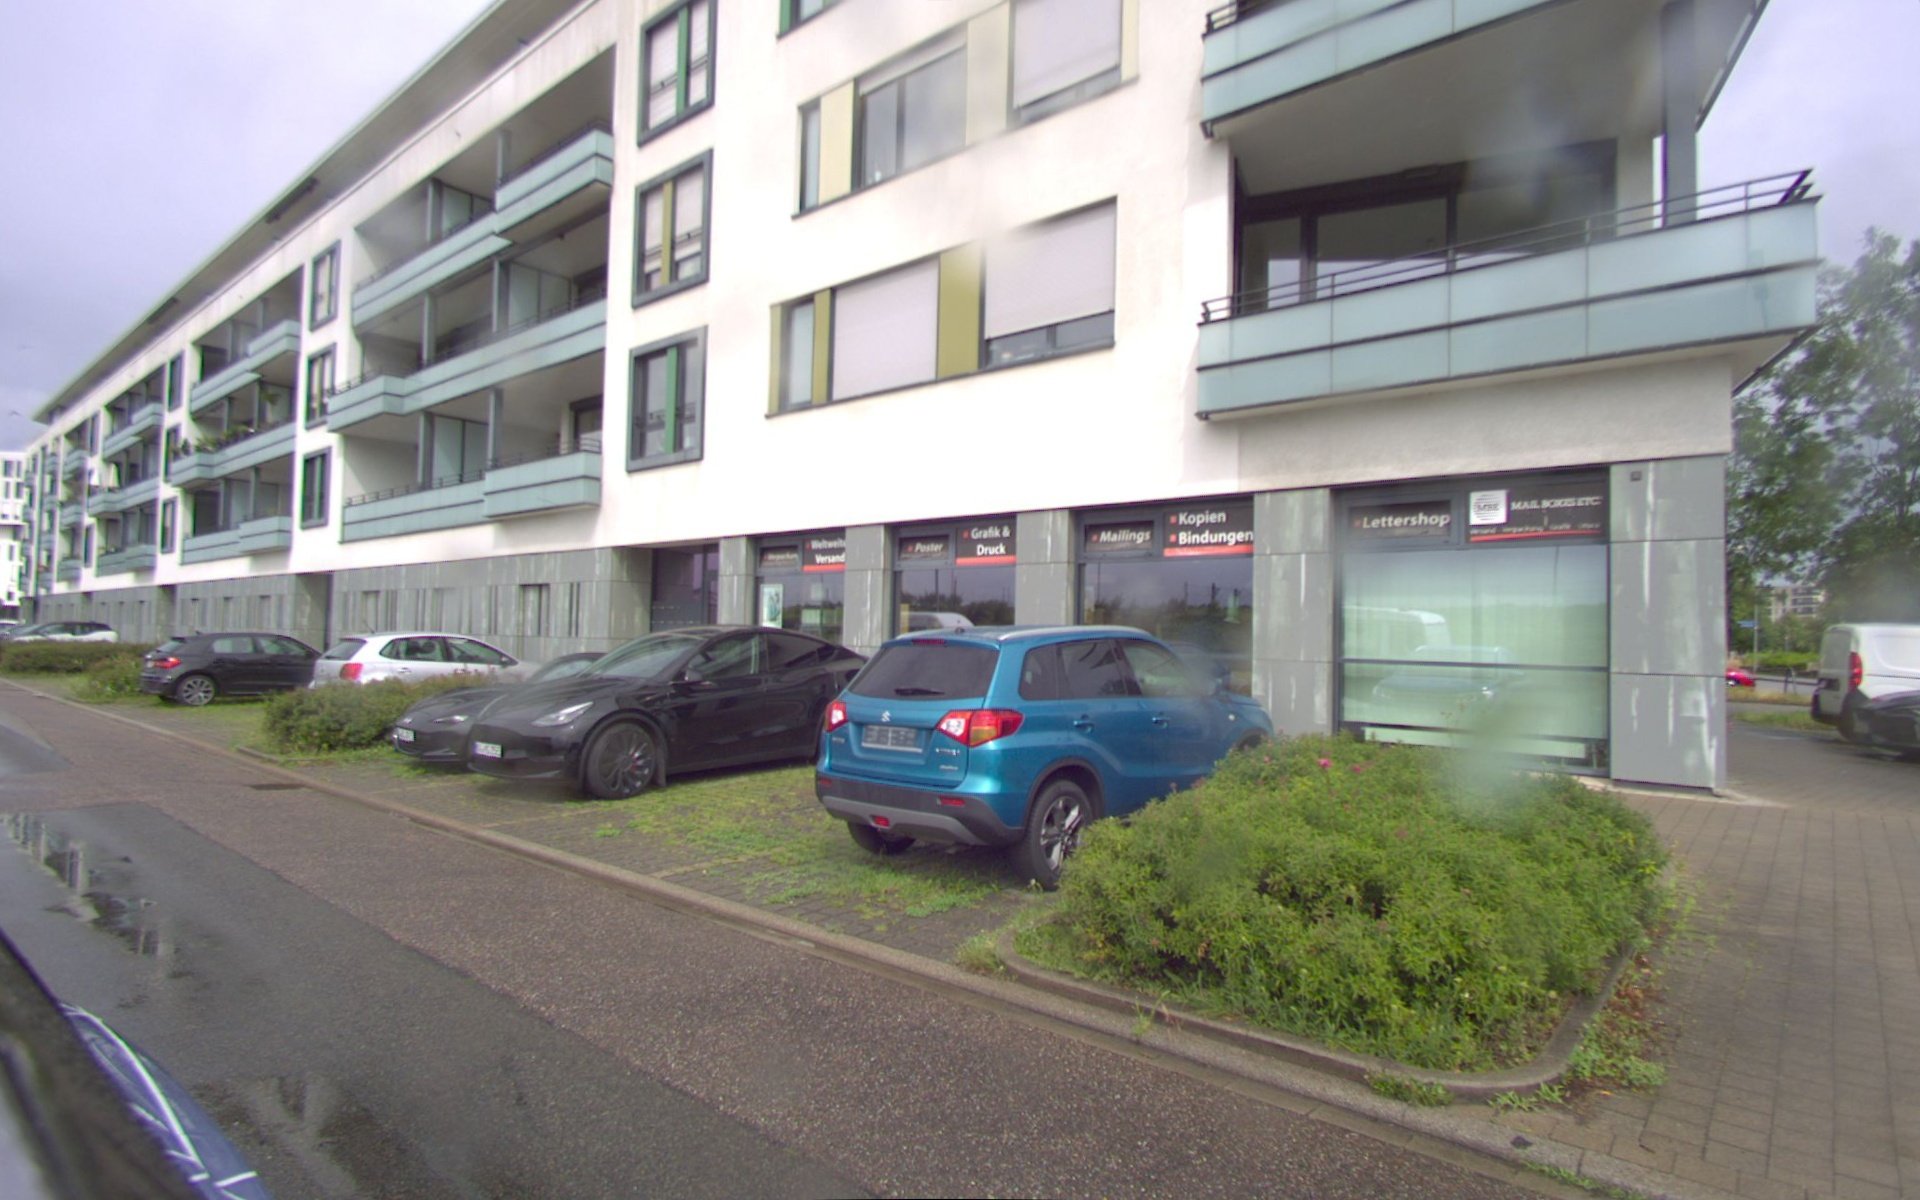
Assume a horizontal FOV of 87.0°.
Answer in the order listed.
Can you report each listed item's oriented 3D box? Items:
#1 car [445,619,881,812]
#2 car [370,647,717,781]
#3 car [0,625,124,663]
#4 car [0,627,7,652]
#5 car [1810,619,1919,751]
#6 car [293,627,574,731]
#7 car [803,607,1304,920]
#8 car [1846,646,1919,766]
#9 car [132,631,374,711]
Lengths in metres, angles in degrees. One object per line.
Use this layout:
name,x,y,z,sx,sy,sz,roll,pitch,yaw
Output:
car,-2.946,1.013,10.751,1.858,1.561,4.130,-1,0,40
car,-4.859,1.243,12.172,1.538,1.192,3.568,-1,0,40
car,-36.231,1.728,40.724,1.743,1.381,3.750,-1,0,40
car,-54.100,2.174,54.580,1.743,1.381,3.750,-1,0,40
car,15.265,1.247,14.554,4.322,1.849,1.630,1,-1,23
car,-8.313,1.173,16.213,1.684,1.388,3.623,-2,-1,38
car,0.882,0.896,7.445,1.755,1.646,3.769,-1,0,43
car,13.781,1.360,12.362,4.103,1.407,1.675,1,-1,23
car,-14.087,1.347,20.304,1.644,1.383,3.692,-1,-1,41
